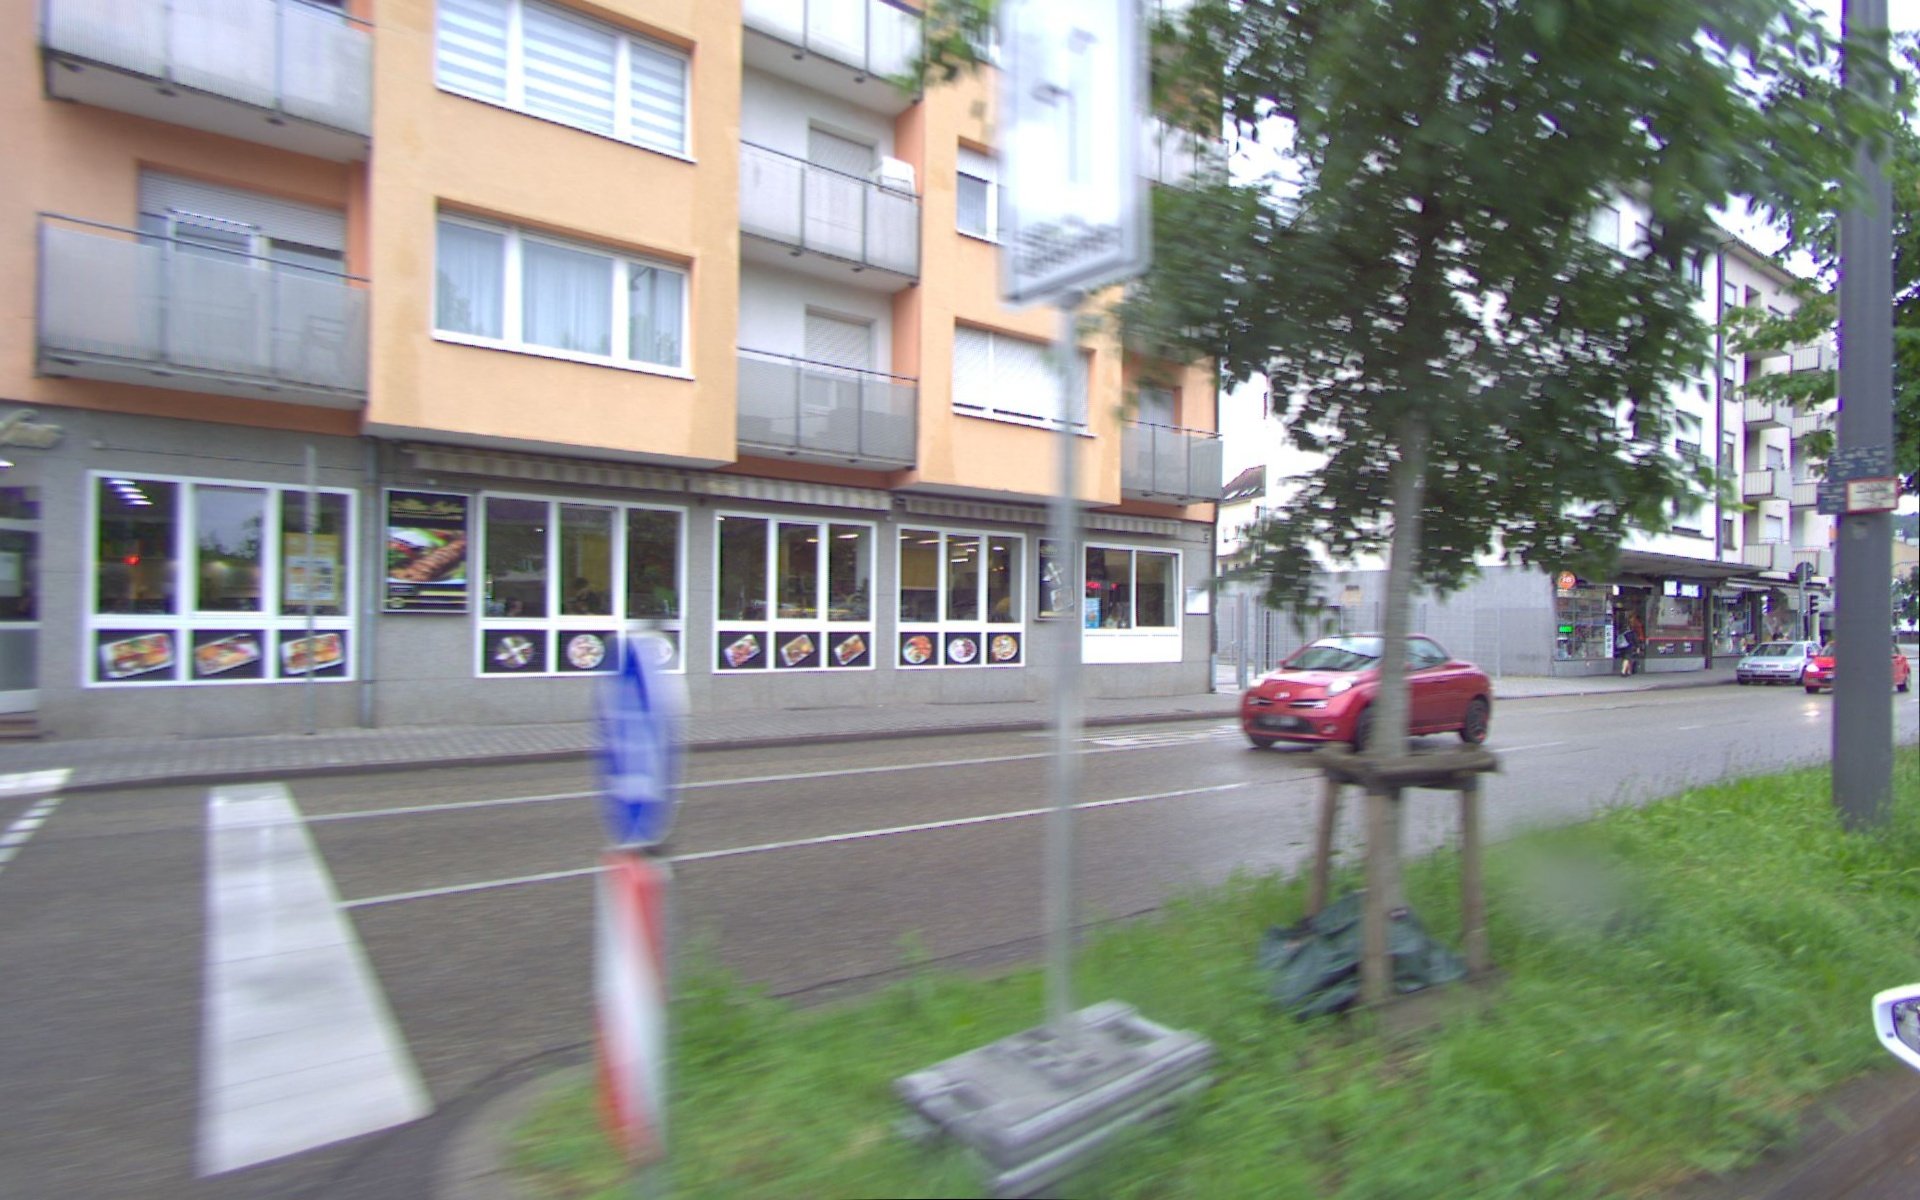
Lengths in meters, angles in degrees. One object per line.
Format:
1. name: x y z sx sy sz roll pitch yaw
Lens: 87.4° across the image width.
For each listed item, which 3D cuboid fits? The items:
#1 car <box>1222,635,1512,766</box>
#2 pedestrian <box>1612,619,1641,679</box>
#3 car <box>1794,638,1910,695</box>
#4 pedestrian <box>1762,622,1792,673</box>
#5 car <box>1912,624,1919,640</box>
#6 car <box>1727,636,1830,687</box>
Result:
1. car: 5.250 1.162 12.795 3.839 1.418 1.654 1 -2 -36
2. pedestrian: 21.568 1.572 32.493 0.519 1.886 0.635 1 0 -36
3. car: 24.519 1.780 27.583 3.626 1.420 1.679 1 -1 -36
4. pedestrian: 33.686 1.941 41.425 0.714 2.040 0.657 4 0 22
5. car: 88.952 2.958 91.497 1.568 1.530 3.602 1 -1 13
6. car: 26.756 1.966 32.816 3.626 1.545 1.765 1 -1 -36
